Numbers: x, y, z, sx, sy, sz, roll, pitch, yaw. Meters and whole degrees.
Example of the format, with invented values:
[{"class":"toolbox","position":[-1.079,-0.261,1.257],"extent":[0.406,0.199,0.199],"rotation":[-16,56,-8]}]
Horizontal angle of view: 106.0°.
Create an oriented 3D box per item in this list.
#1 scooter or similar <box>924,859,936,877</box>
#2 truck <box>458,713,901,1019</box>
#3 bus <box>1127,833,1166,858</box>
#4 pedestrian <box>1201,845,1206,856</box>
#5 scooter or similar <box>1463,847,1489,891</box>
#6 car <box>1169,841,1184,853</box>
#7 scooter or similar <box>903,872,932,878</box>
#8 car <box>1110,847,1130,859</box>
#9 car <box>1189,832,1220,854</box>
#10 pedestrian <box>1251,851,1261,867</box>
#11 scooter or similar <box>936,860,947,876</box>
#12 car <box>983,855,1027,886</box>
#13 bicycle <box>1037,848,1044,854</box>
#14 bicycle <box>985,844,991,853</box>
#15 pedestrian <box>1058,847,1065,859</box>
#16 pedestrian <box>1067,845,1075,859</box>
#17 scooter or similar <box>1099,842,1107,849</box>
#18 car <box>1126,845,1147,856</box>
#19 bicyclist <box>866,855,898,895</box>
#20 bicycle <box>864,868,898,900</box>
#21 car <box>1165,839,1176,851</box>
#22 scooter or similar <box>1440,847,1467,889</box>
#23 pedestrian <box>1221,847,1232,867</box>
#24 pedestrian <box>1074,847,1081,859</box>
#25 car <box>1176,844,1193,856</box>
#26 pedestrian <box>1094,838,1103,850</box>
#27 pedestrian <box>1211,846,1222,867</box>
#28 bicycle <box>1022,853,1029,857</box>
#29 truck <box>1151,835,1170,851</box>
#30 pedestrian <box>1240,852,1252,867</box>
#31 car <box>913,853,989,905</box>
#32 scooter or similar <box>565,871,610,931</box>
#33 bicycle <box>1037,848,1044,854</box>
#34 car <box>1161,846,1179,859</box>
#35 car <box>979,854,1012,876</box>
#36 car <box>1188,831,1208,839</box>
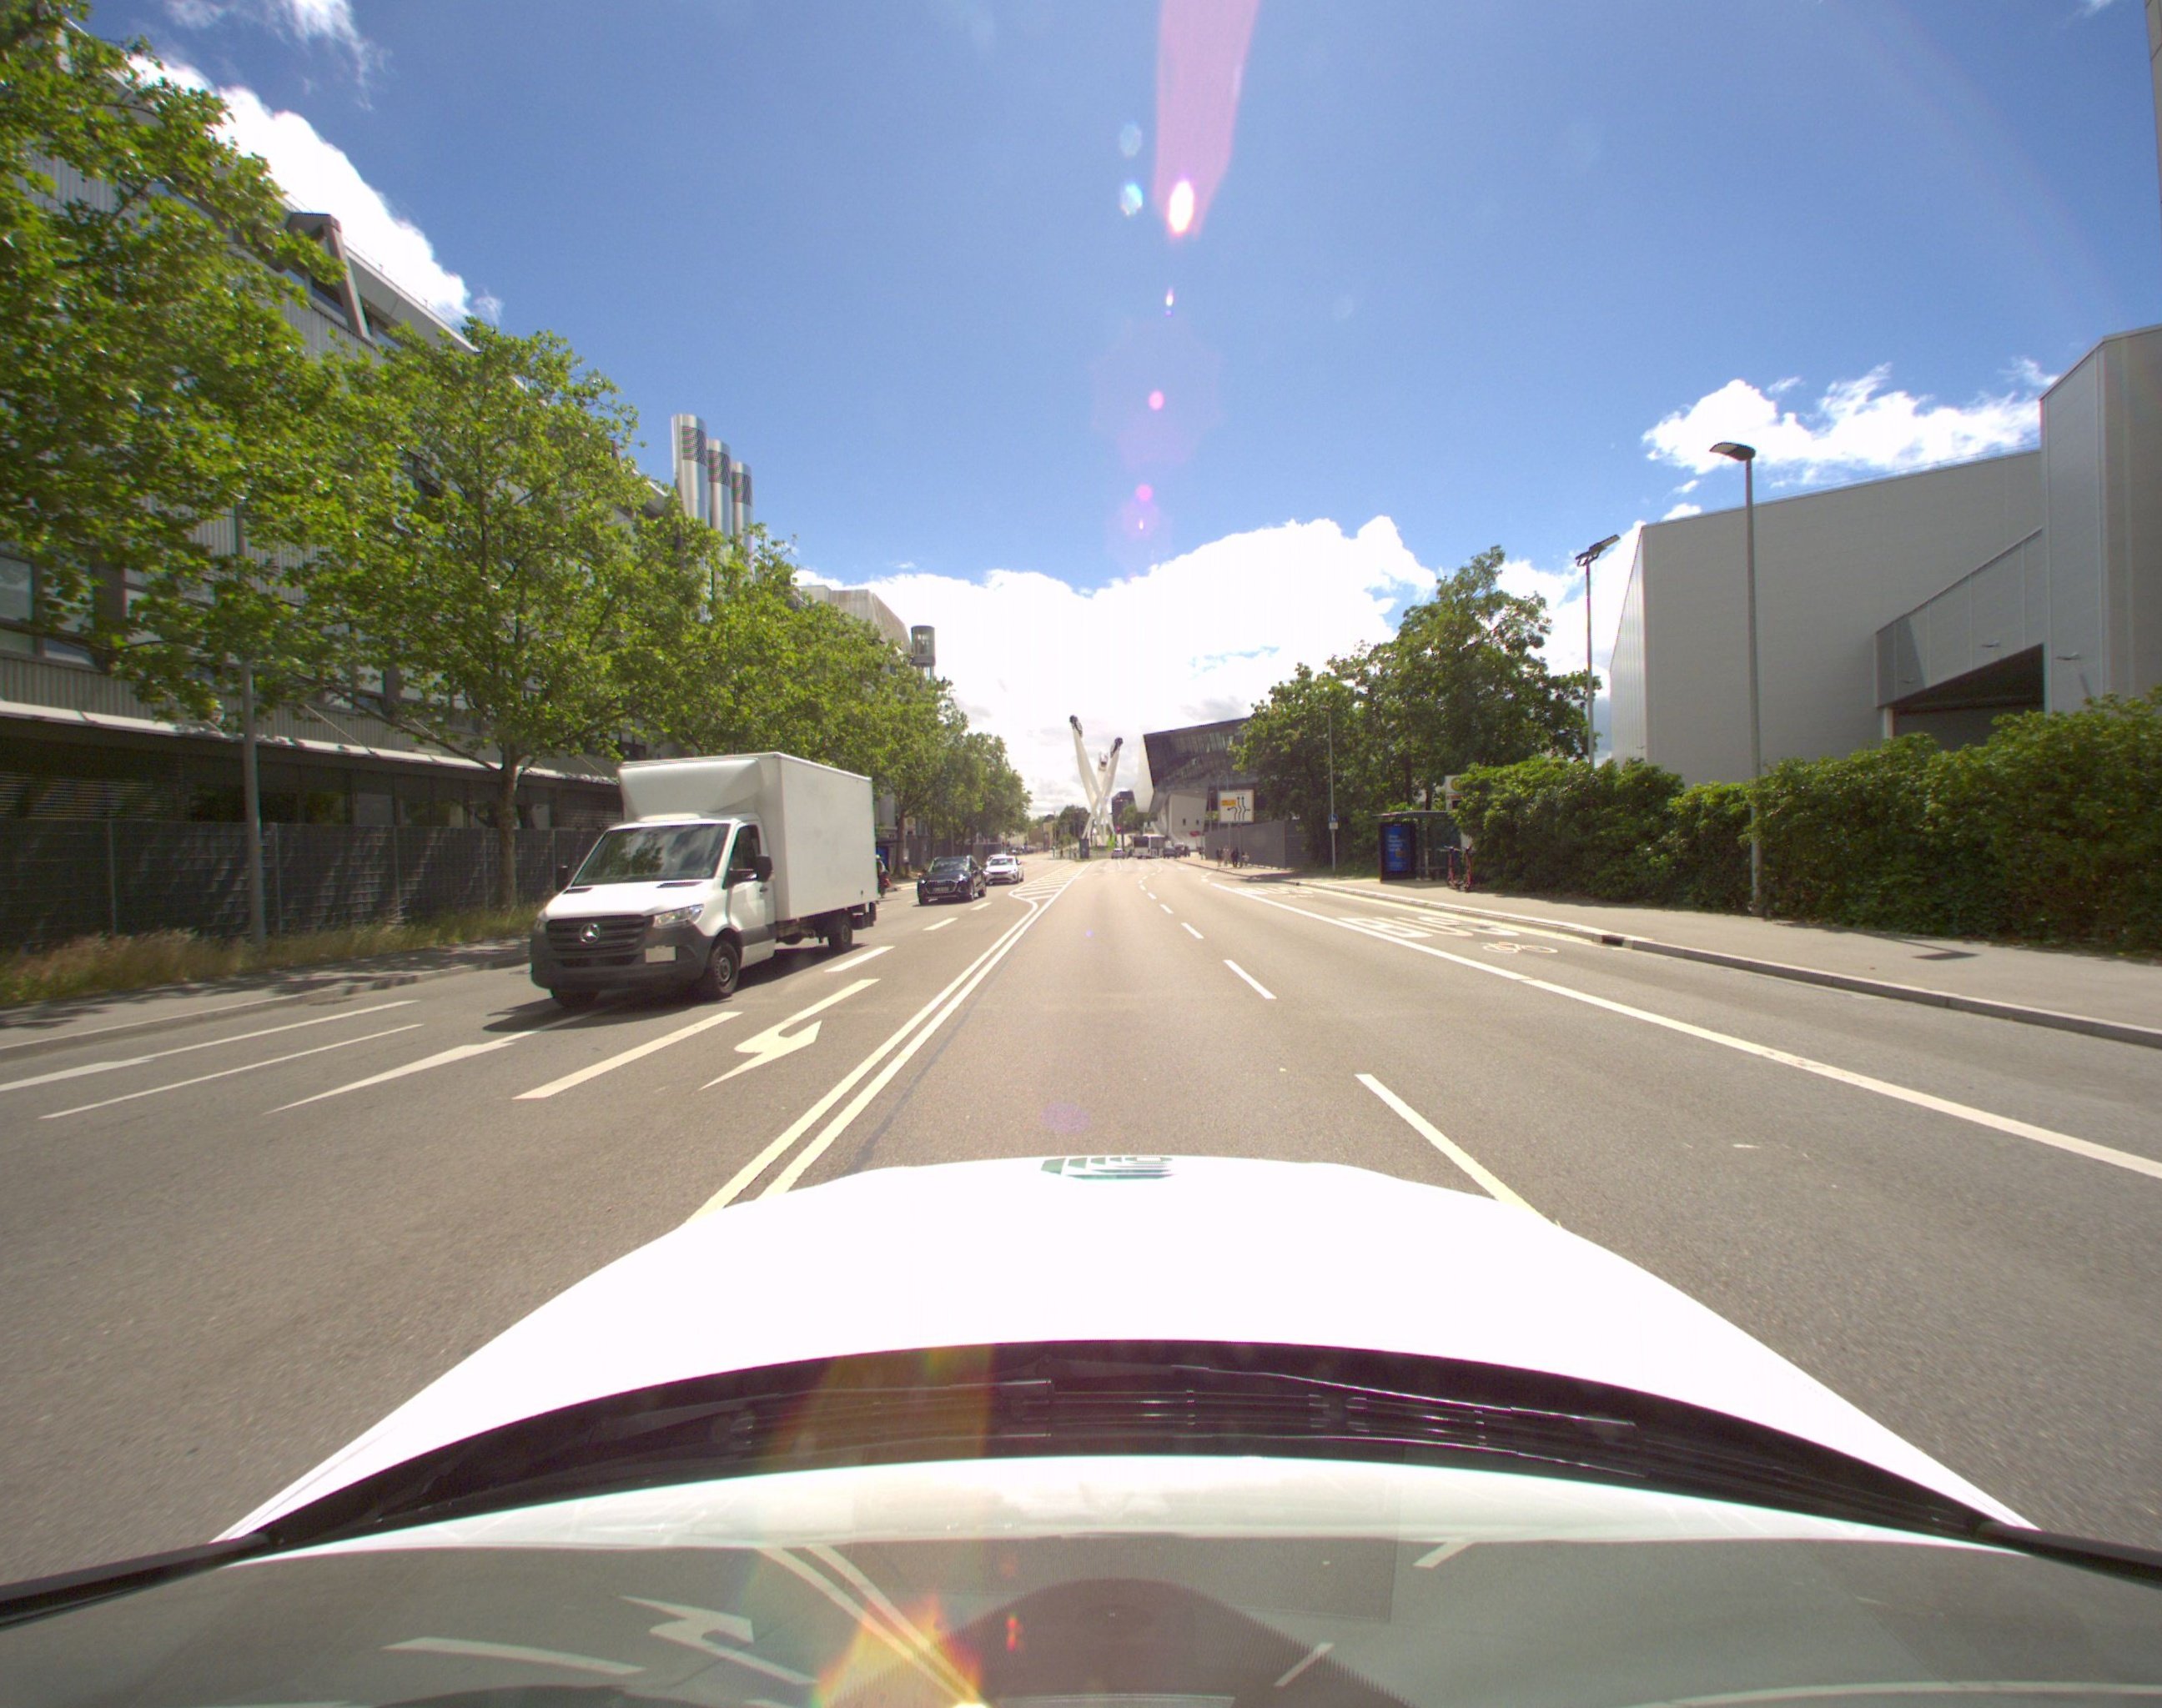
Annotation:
[{"class":"scooter or similar","position":[-10.920,1.036,58.849],"extent":[0.521,1.234,1.318],"rotation":[1,1,2]},{"class":"truck","position":[-5.097,0.133,12.286],"extent":[2.441,3.128,7.253],"rotation":[-3,0,5]},{"class":"bus","position":[9.464,-1.146,115.677],"extent":[3.048,3.362,12.274],"rotation":[-1,0,16]},{"class":"pedestrian","position":[18.193,-0.487,120.570],"extent":[0.655,1.608,0.826],"rotation":[-1,-1,13]},{"class":"scooter or similar","position":[11.204,0.410,23.084],"extent":[0.536,1.163,1.803],"rotation":[-3,0,29]},{"class":"car","position":[16.078,-1.239,137.144],"extent":[1.979,1.932,4.257],"rotation":[-1,0,15]},{"class":"scooter or similar","position":[-11.518,1.473,57.377],"extent":[1.347,0.380,1.499],"rotation":[2,1,37]},{"class":"car","position":[5.410,-0.149,111.850],"extent":[1.979,1.636,4.016],"rotation":[-1,0,15]},{"class":"car","position":[20.913,-1.803,137.322],"extent":[3.307,3.504,9.390],"rotation":[-1,0,21]},{"class":"pedestrian","position":[13.315,0.372,61.913],"extent":[0.710,1.207,0.600],"rotation":[0,-1,6]},{"class":"scooter or similar","position":[-10.704,1.074,62.581],"extent":[0.520,1.234,1.319],"rotation":[2,1,4]},{"class":"car","position":[-3.913,0.808,42.645],"extent":[1.685,1.415,4.148],"rotation":[-3,0,2]},{"class":"bicycle","position":[-9.564,-0.683,191.869],"extent":[1.600,1.316,0.493],"rotation":[0,-1,1]},{"class":"bicycle","position":[-10.796,-0.649,94.318],"extent":[0.294,1.006,1.256],"rotation":[-1,-1,13]},{"class":"pedestrian","position":[-2.935,-0.111,124.249],"extent":[0.864,1.774,1.031],"rotation":[0,-1,-11]},{"class":"pedestrian","position":[-1.459,-0.295,123.134],"extent":[0.944,2.055,0.956],"rotation":[-1,-1,21]},{"class":"scooter or similar","position":[3.798,-1.431,141.466],"extent":[1.398,1.025,0.549],"rotation":[-4,6,-6]},{"class":"car","position":[8.464,-0.505,123.976],"extent":[1.977,1.636,4.020],"rotation":[-1,0,20]},{"class":"bicyclist","position":[-8.404,0.874,34.466],"extent":[0.953,1.598,1.222],"rotation":[-4,-1,-1]},{"class":"bicycle","position":[-8.403,1.235,34.293],"extent":[0.733,1.234,2.474],"rotation":[-3,0,0]},{"class":"car","position":[16.821,-1.757,153.848],"extent":[1.984,2.171,4.661],"rotation":[0,0,5]},{"class":"scooter or similar","position":[11.188,0.401,24.423],"extent":[0.536,1.163,2.141],"rotation":[-3,0,29]},{"class":"pedestrian","position":[11.847,0.224,66.180],"extent":[0.792,1.597,0.732],"rotation":[0,-1,1]},{"class":"pedestrian","position":[-0.565,-0.192,121.518],"extent":[0.864,1.774,1.031],"rotation":[0,-1,-11]},{"class":"car","position":[15.280,-0.599,120.427],"extent":[1.979,1.636,4.016],"rotation":[-1,0,15]},{"class":"pedestrian","position":[2.952,-1.744,141.251],"extent":[1.281,1.816,0.984],"rotation":[-5,4,-8]},{"class":"pedestrian","position":[11.044,0.204,66.204],"extent":[0.792,1.720,0.732],"rotation":[0,-1,1]},{"class":"bicycle","position":[-12.710,0.179,185.436],"extent":[0.486,0.866,1.621],"rotation":[-1,2,43]},{"class":"truck","position":[13.390,-1.804,137.462],"extent":[2.190,2.516,5.155],"rotation":[-1,0,17]},{"class":"pedestrian","position":[12.510,0.415,61.770],"extent":[0.754,1.148,0.973],"rotation":[0,-1,5]},{"class":"car","position":[-4.494,0.825,28.874],"extent":[1.733,1.581,4.270],"rotation":[-4,0,3]},{"class":"scooter or similar","position":[-12.017,1.132,19.871],"extent":[0.302,1.403,1.236],"rotation":[0,-1,2]},{"class":"bicycle","position":[-9.519,-0.810,193.374],"extent":[1.600,1.382,0.493],"rotation":[0,-1,1]},{"class":"car","position":[12.380,-0.188,113.202],"extent":[1.979,1.636,4.017],"rotation":[-1,1,15]},{"class":"car","position":[-6.804,0.864,65.039],"extent":[1.870,1.505,4.194],"rotation":[-3,0,3]},{"class":"car","position":[28.002,-4.481,194.935],"extent":[2.011,1.394,4.461],"rotation":[-7,10,-41]}]
